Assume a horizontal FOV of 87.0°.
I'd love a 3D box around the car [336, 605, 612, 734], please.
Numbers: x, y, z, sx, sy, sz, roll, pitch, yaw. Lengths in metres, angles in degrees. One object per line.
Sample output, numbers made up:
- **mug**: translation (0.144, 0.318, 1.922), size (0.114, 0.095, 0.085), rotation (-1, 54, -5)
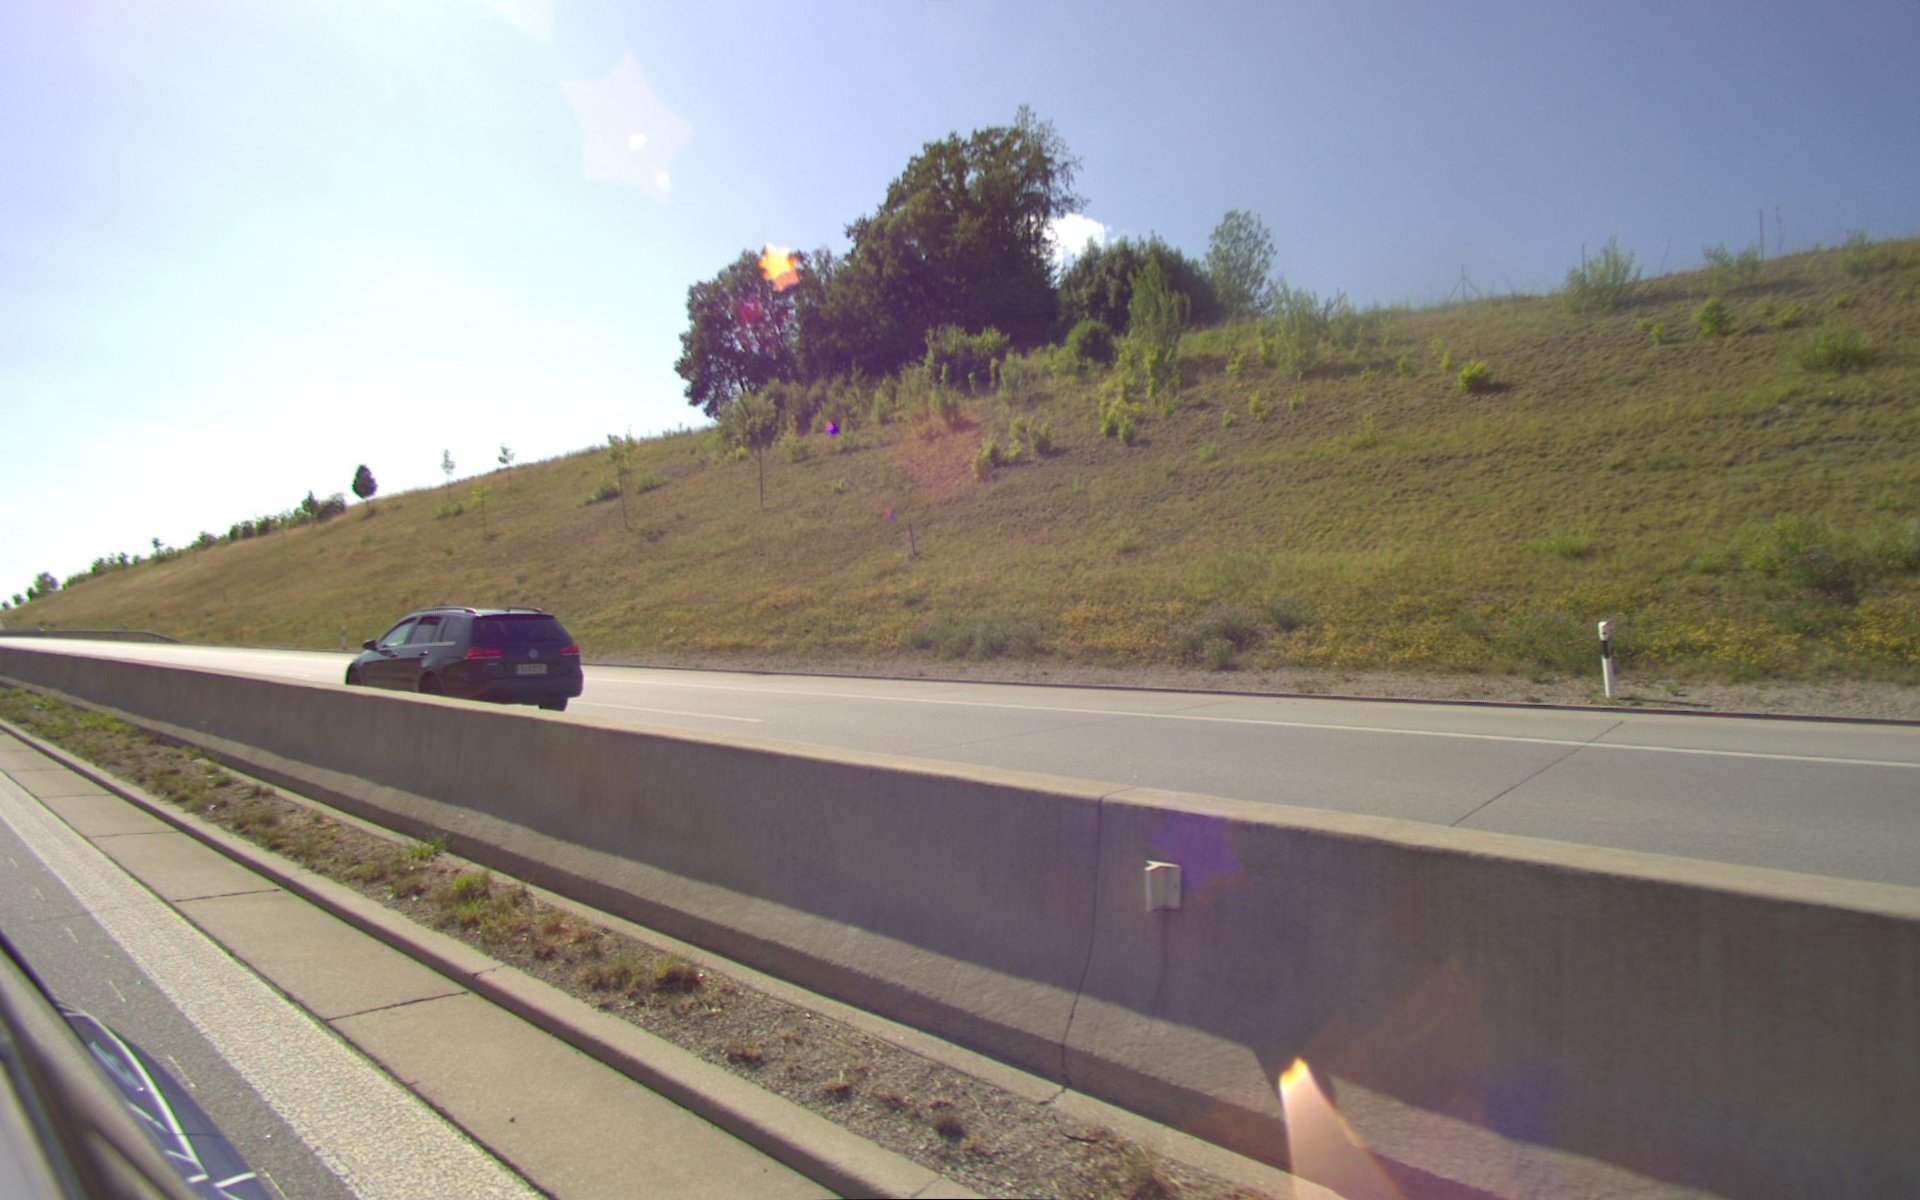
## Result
- **car**: translation (-6.605, 0.831, 13.556), size (4.179, 1.460, 1.756), rotation (-1, -1, 40)
